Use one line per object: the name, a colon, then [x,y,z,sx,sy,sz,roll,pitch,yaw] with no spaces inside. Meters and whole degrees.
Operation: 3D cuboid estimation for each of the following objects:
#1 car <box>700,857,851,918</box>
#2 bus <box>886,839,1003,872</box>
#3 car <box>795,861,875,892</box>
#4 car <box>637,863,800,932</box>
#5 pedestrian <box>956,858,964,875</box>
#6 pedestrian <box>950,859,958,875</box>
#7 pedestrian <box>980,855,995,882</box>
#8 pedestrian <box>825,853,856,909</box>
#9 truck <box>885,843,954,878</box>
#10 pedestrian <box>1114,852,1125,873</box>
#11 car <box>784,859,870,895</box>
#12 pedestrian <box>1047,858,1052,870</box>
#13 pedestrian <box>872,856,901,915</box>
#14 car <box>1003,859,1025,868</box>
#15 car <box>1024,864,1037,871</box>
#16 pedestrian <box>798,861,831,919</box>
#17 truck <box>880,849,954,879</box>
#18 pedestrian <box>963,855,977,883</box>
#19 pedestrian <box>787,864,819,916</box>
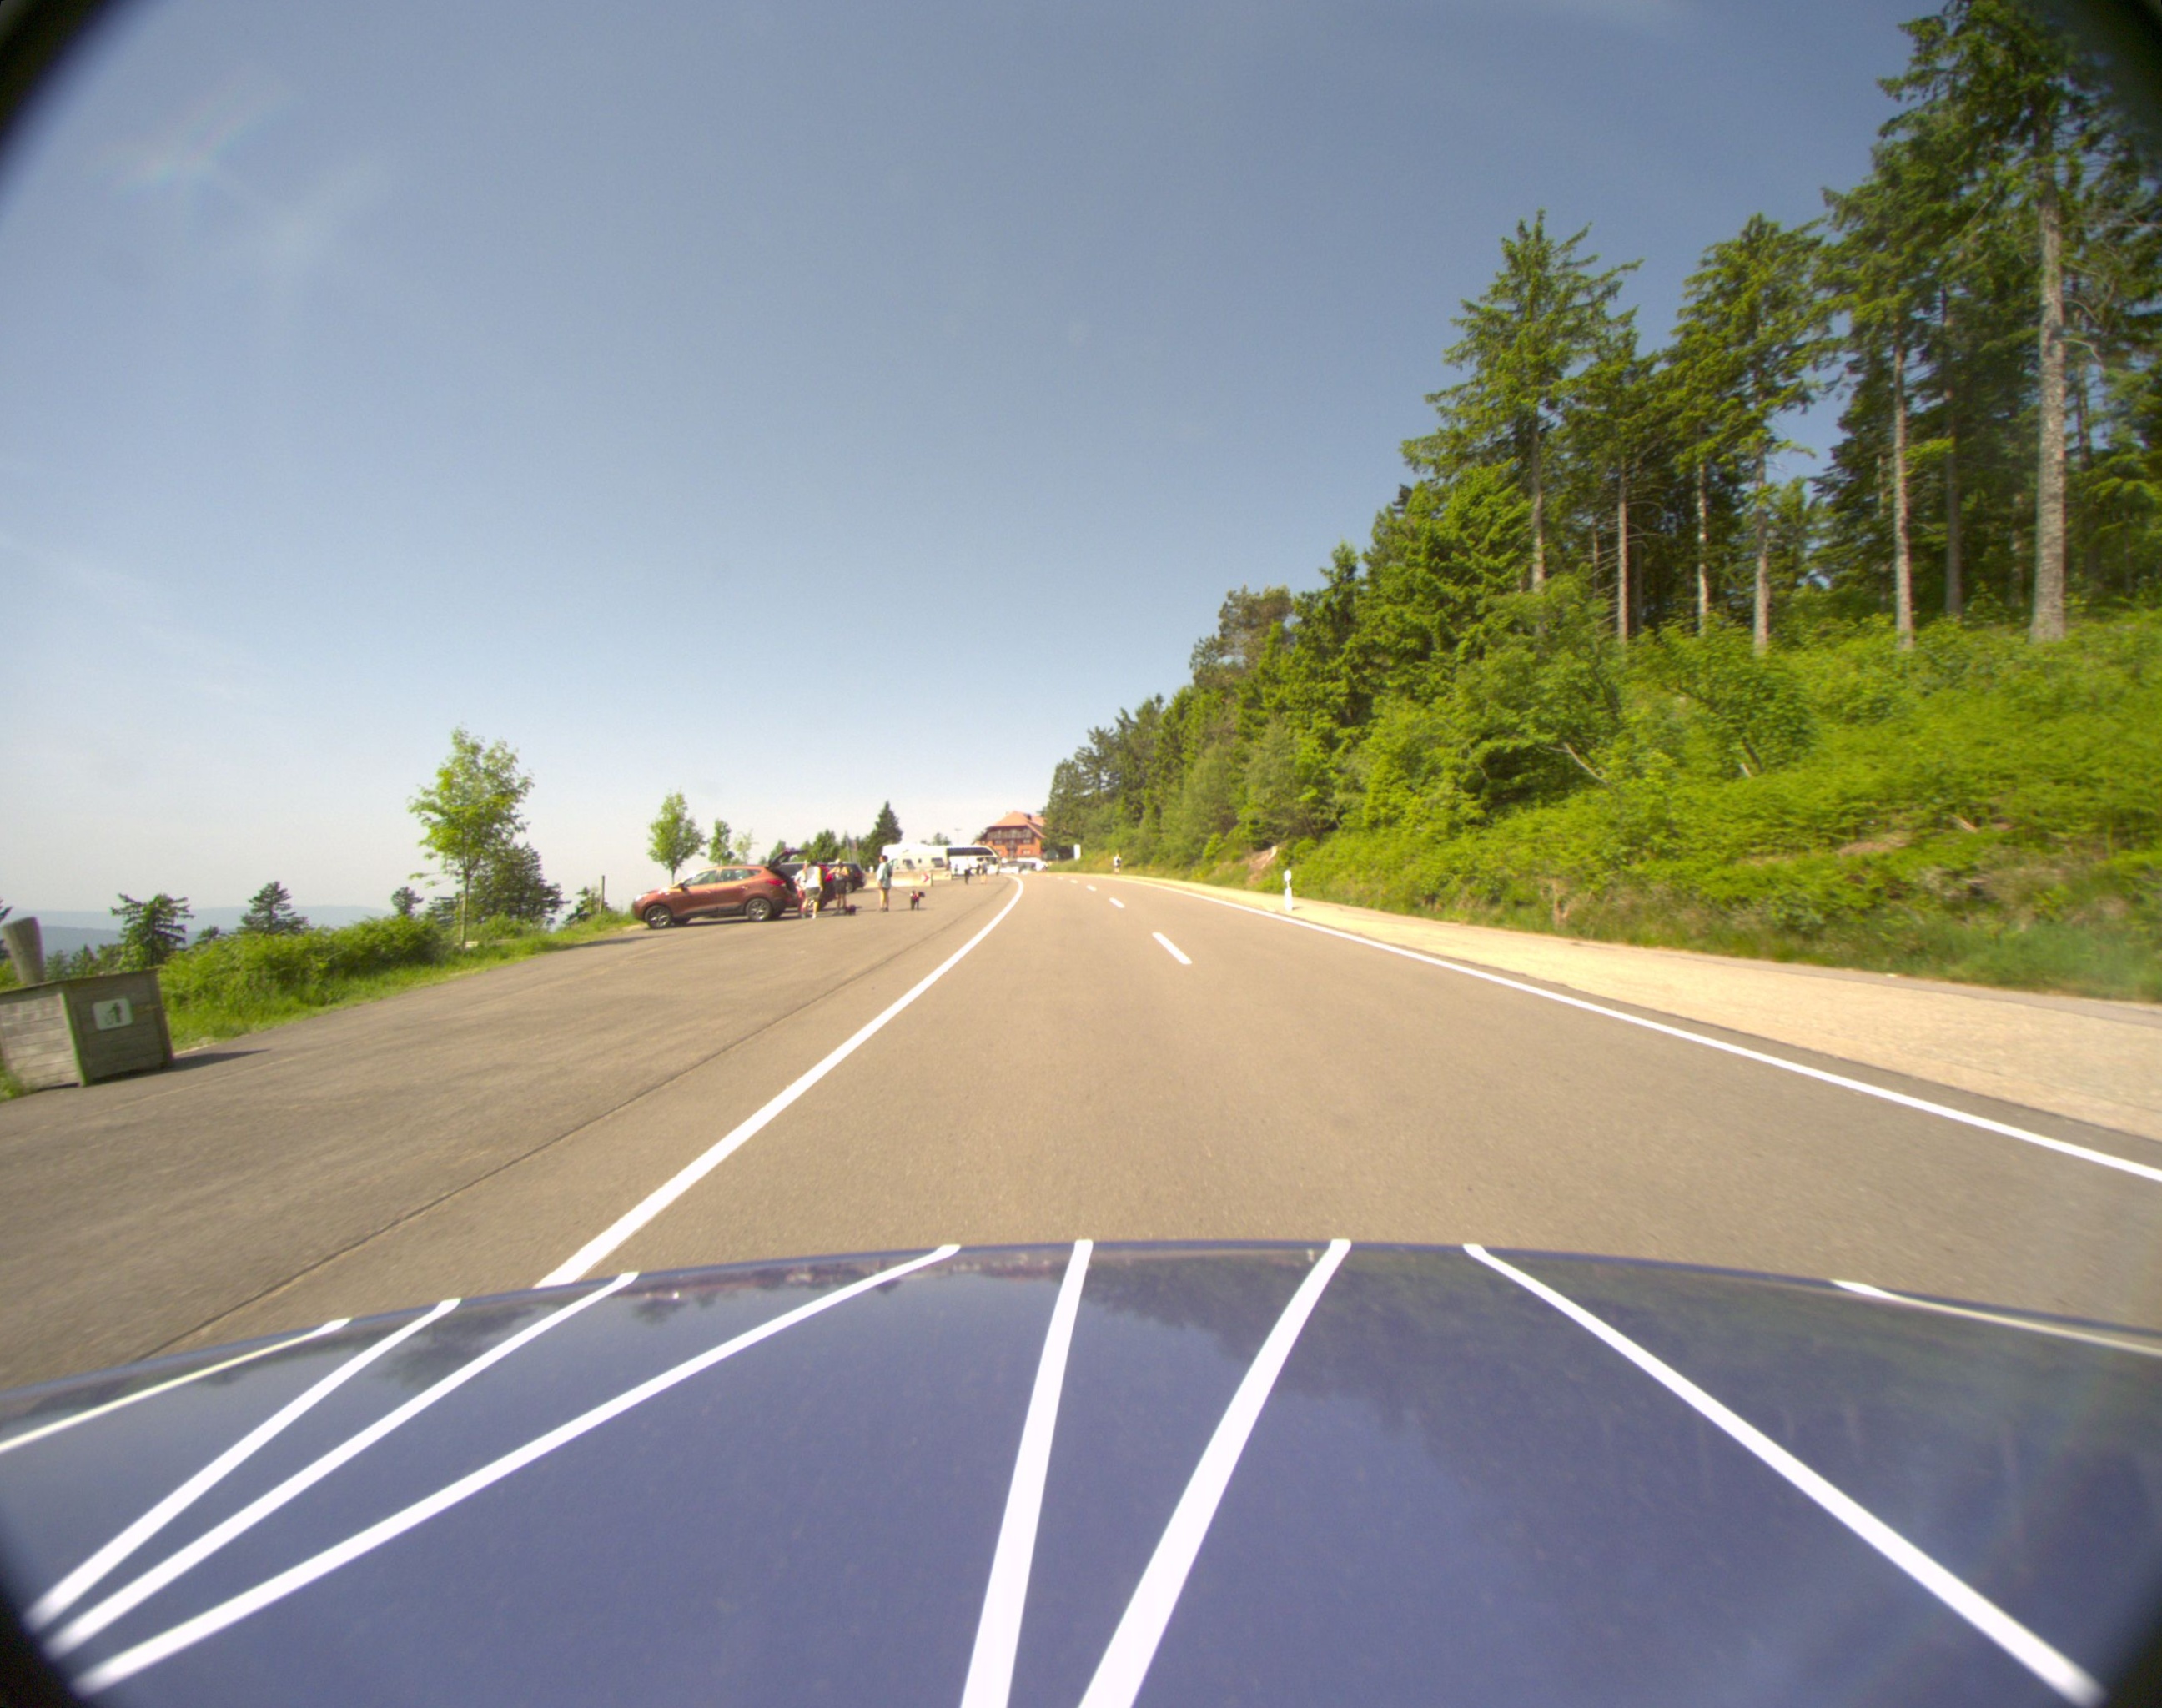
car: [-10.061,1.062,25.330,4.277,1.783,1.891,-2,1,-8]
bus: [-15.460,0.165,86.847,12.885,3.556,2.838,-1,0,-5]
car: [-13.954,1.255,43.246,4.000,1.467,1.772,-3,0,-8]
car: [-10.231,1.188,21.723,3.829,1.651,1.651,-3,1,-10]
pedestrian: [-12.909,1.338,80.862,0.631,1.747,0.628,-1,0,7]
pedestrian: [-13.589,1.402,81.129,0.631,1.641,0.629,-1,0,17]
pedestrian: [-6.057,0.931,49.076,0.755,1.750,0.776,-1,0,8]
pedestrian: [-7.443,0.828,23.518,0.717,1.682,0.619,-2,0,1]
truck: [-15.119,0.626,71.525,6.083,3.177,2.530,-1,0,-9]
pedestrian: [3.194,0.703,63.354,0.685,1.736,0.824,-1,0,-12]
car: [-13.292,1.177,39.945,4.000,1.637,1.599,-3,1,-9]
pedestrian: [-4.566,1.480,111.110,0.578,1.633,0.893,0,-1,-10]
pedestrian: [-5.955,0.950,23.307,0.618,1.765,0.724,-2,0,1]
car: [-13.065,1.882,148.581,3.955,1.578,1.793,-1,-1,20]
car: [-11.057,2.870,166.567,1.711,1.543,3.140,-1,-1,23]
pedestrian: [-7.727,1.043,22.052,0.654,1.650,0.688,0,-1,7]
truck: [-14.632,0.894,68.228,6.280,2.575,2.339,-1,-1,-6]
pedestrian: [-7.154,0.959,48.917,0.666,1.730,0.895,-1,0,8]
pedestrian: [-8.491,1.099,23.244,0.618,1.577,0.736,-1,-1,14]
